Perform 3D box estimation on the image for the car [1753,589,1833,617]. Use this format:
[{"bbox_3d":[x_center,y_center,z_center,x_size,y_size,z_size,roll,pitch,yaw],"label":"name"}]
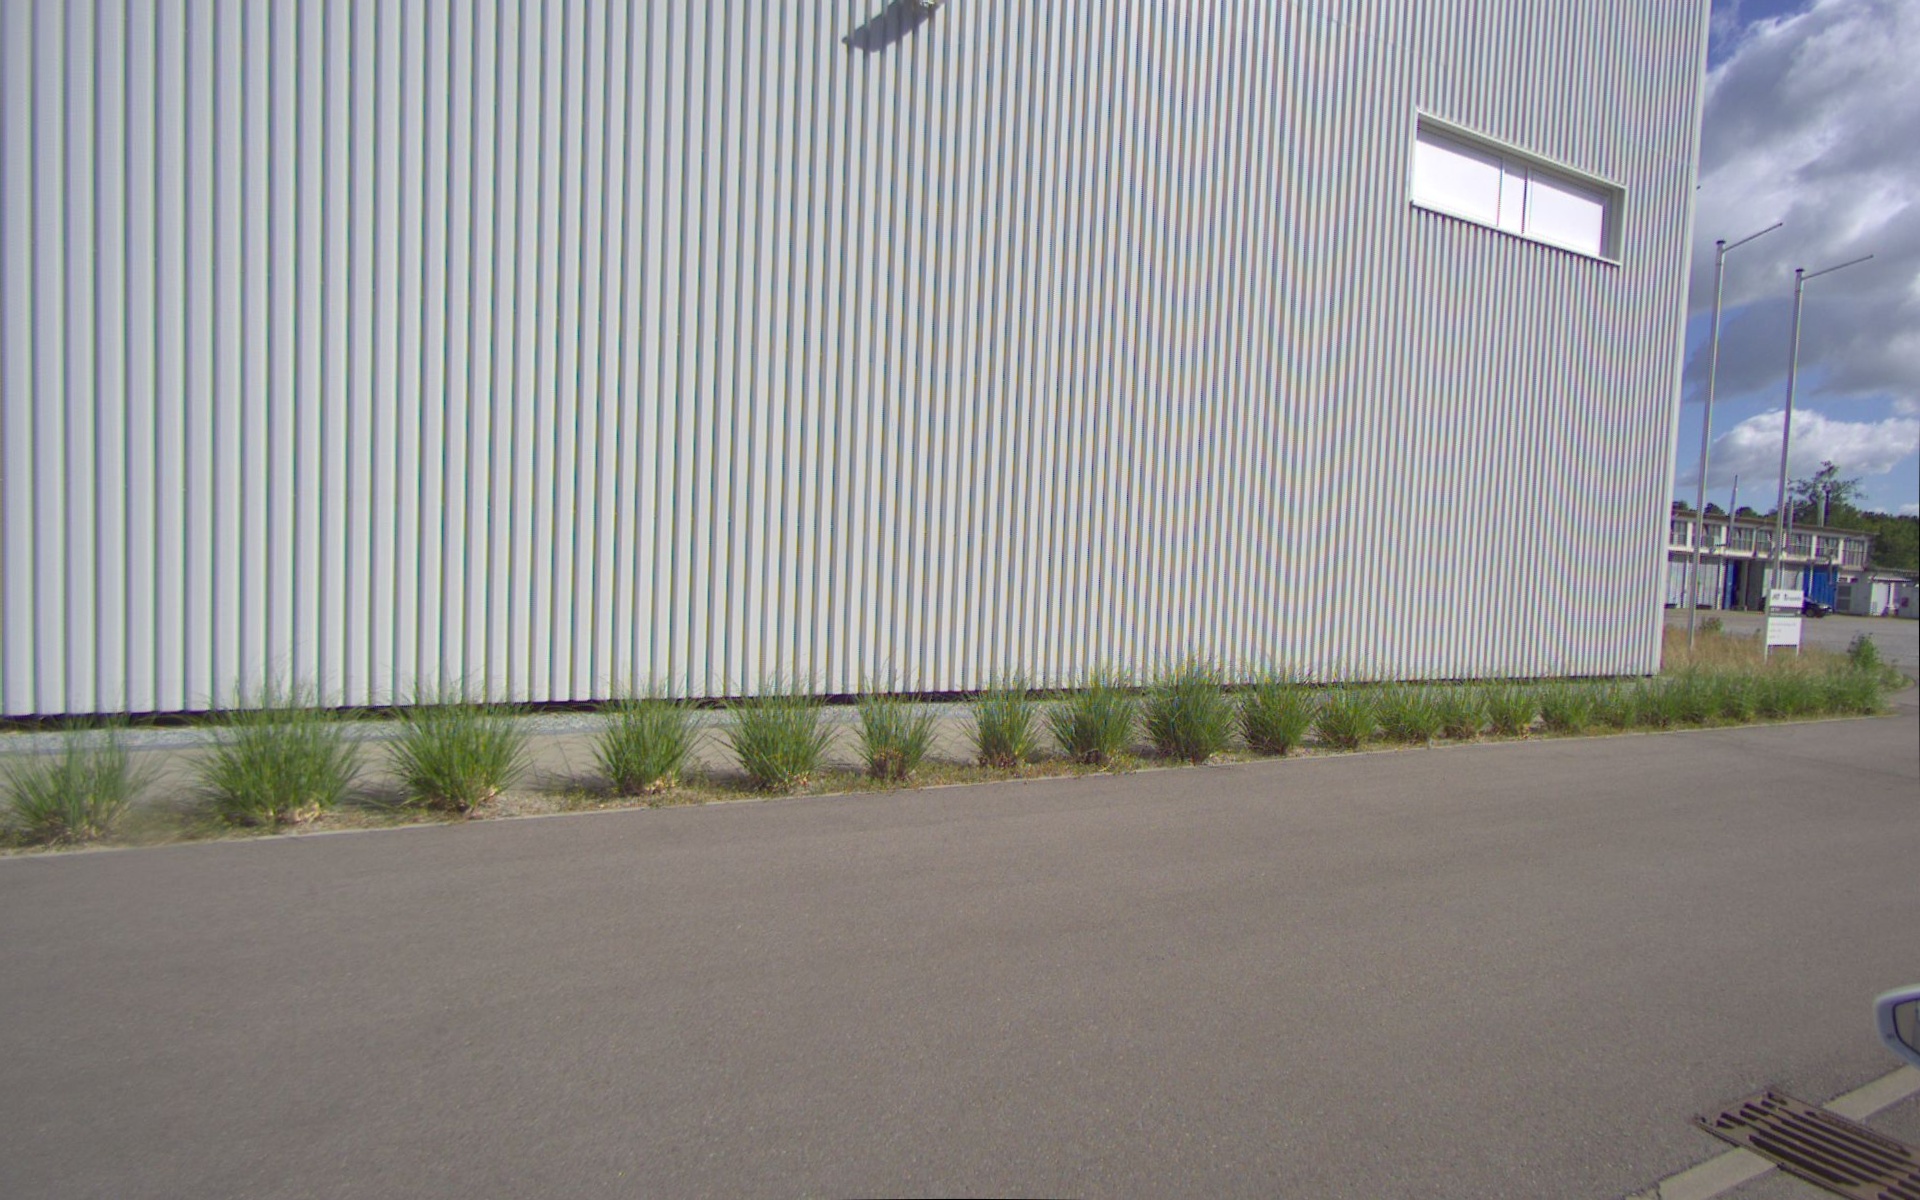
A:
[{"bbox_3d":[61.841,0.233,74.661,1.762,1.688,4.143,2,4,-29],"label":"car"}]
